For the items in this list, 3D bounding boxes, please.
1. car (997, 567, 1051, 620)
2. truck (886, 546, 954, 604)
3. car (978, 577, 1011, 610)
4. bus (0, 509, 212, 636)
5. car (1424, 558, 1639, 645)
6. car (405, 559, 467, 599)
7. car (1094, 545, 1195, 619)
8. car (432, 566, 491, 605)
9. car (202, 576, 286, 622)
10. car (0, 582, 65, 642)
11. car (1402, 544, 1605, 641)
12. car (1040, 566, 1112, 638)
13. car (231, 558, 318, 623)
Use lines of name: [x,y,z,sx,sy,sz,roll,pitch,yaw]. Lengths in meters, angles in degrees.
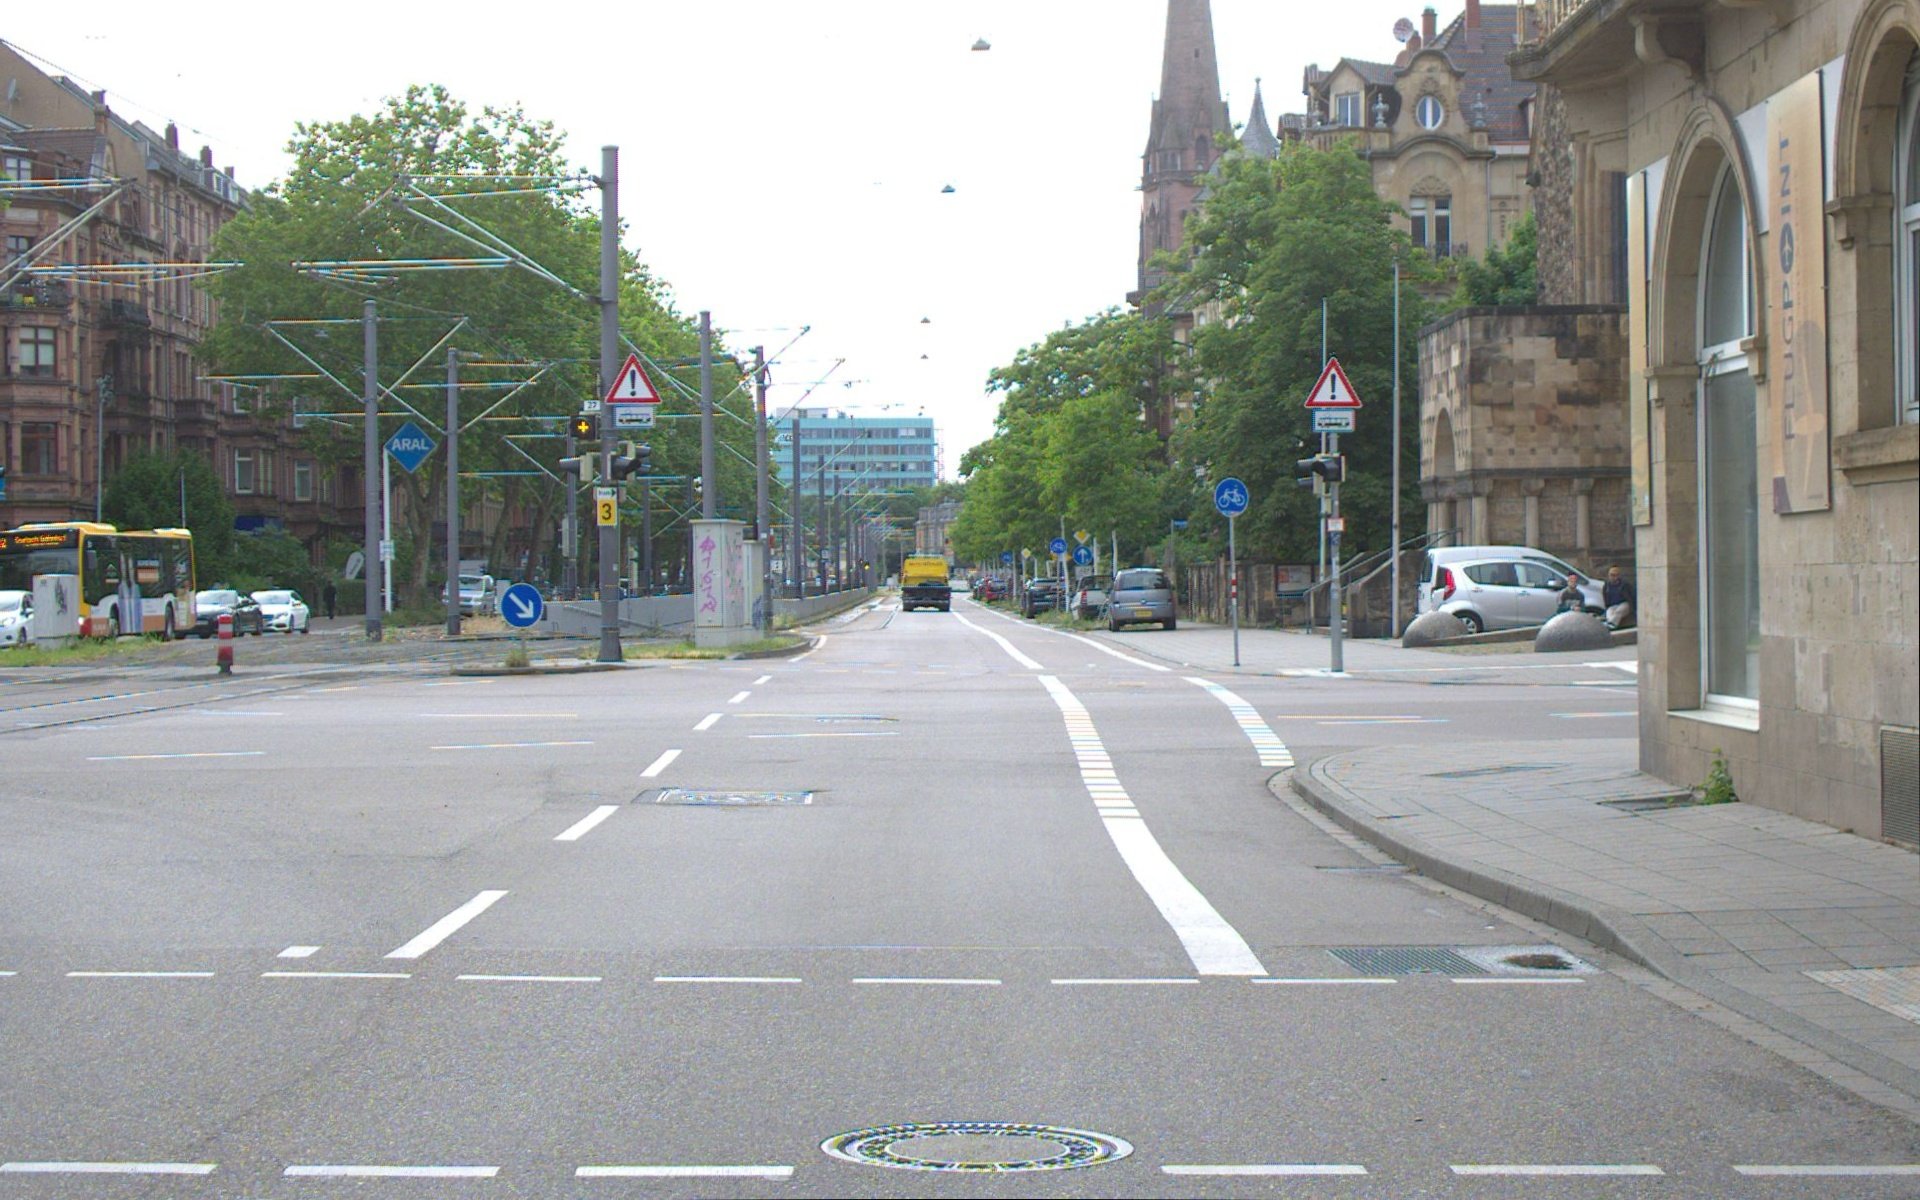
car: [2.527,-0.276,136.004,1.993,2.007,4.000,1,1,-1]
truck: [-1.946,-1.266,171.433,3.055,2.760,9.815,0,1,1]
car: [2.178,-0.402,216.851,1.993,2.007,4.000,1,1,-1]
bus: [-22.485,-0.733,89.107,3.231,3.025,12.311,1,1,1]
car: [10.758,0.017,64.909,3.713,1.558,2.000,1,0,0]
car: [-21.549,-0.881,141.533,1.993,1.605,4.000,1,1,-1]
car: [4.860,-0.473,89.999,1.994,1.849,4.024,1,1,12]
car: [-21.640,-0.641,149.350,1.993,1.605,4.000,1,1,-1]
car: [-21.274,-0.052,102.247,1.656,1.316,3.638,1,1,1]
car: [-21.917,0.256,79.058,1.656,1.316,3.638,1,1,1]
car: [10.787,-0.161,68.420,3.713,1.849,2.000,1,0,0]
car: [3.335,0.032,99.613,1.993,2.007,4.000,1,1,1]
car: [-21.847,-0.323,109.615,1.993,2.007,4.000,1,1,-1]
